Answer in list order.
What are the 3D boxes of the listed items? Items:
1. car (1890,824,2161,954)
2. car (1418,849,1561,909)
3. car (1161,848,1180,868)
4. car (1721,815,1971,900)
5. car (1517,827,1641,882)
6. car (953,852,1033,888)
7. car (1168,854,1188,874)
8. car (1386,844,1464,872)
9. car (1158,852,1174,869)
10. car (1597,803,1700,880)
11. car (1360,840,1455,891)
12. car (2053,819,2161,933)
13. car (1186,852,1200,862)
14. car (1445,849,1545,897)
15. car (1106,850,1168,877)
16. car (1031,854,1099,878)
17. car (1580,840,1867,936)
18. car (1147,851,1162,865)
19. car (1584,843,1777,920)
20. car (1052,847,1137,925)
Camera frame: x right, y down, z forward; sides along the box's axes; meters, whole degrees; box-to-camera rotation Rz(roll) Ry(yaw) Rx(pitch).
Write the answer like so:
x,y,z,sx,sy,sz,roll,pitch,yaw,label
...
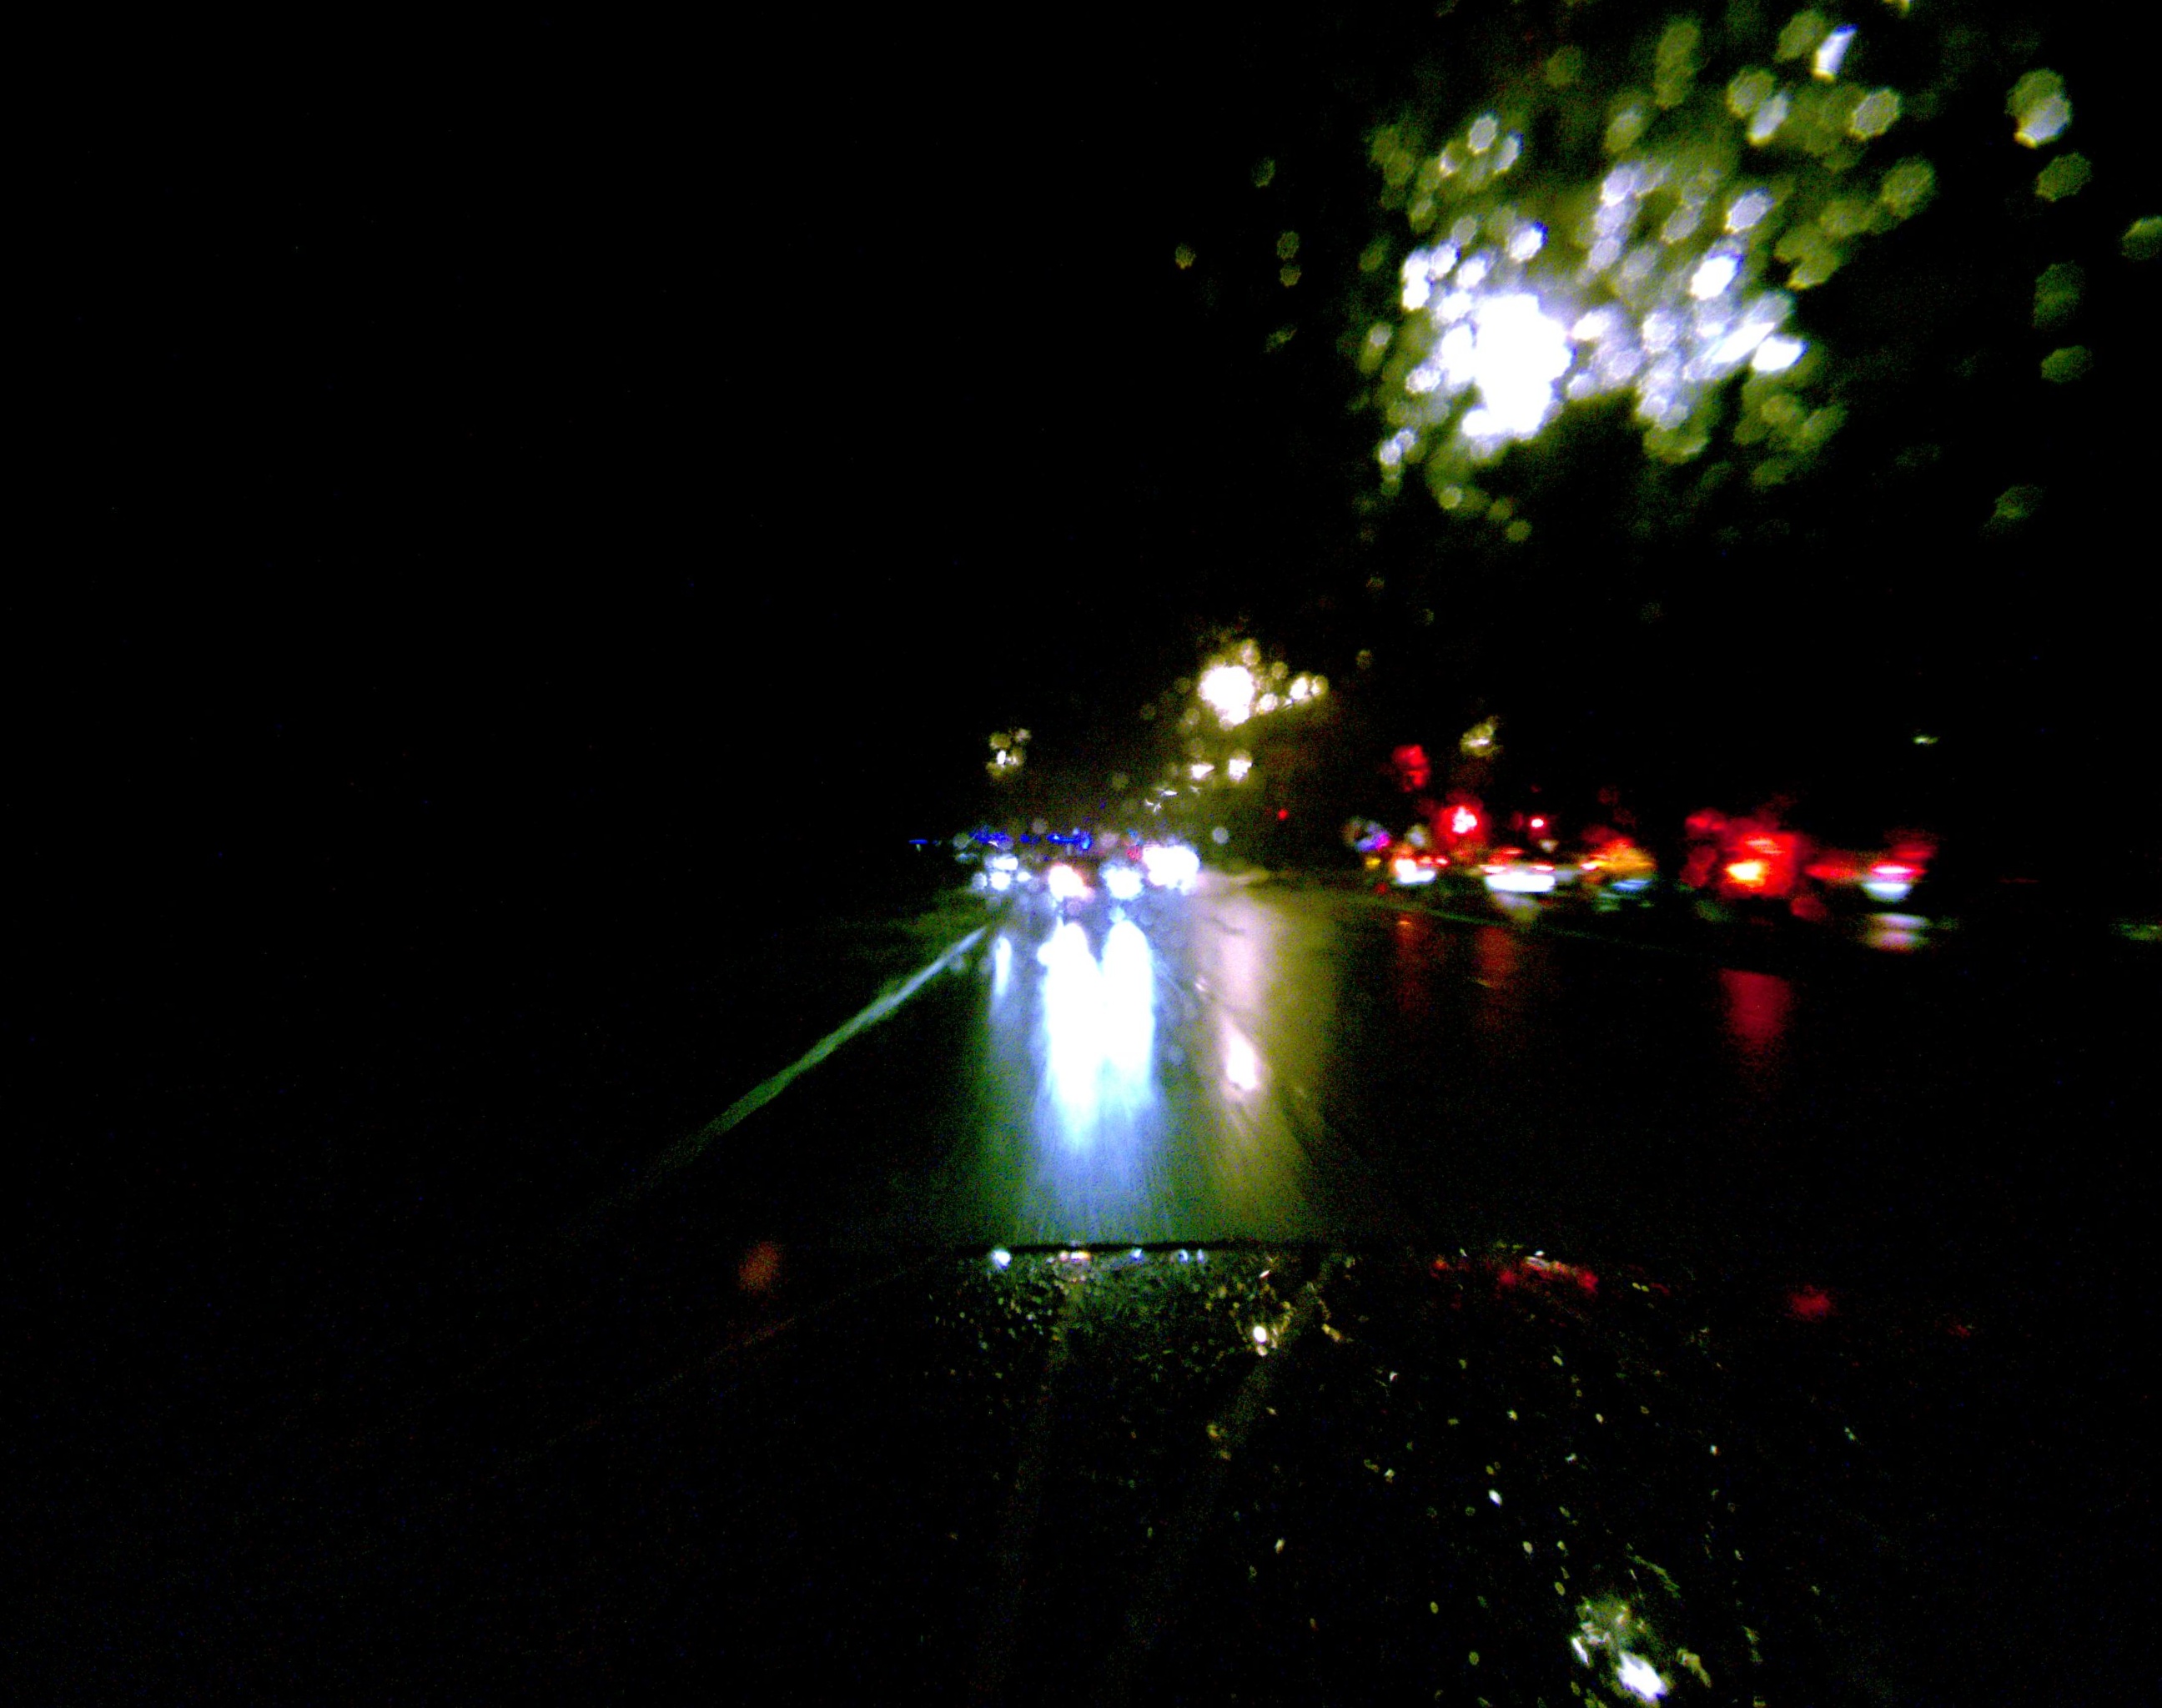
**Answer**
x,y,z,sx,sy,sz,roll,pitch,yaw,label
14.997,0.418,10.993,1.803,1.657,4.486,-2,2,0,car
11.458,0.631,21.703,1.781,1.475,4.412,-2,0,1,car
10.213,0.416,86.807,1.792,2.013,4.146,-1,2,3,car
18.339,0.064,18.554,1.803,1.788,4.250,-2,0,0,car
18.388,0.004,28.337,1.764,1.837,4.284,-2,0,0,car
-4.219,0.734,36.045,1.691,1.524,3.976,-5,3,-41,car
10.039,1.020,78.721,1.666,1.843,4.146,-1,2,3,car
22.454,0.276,49.683,4.233,1.584,1.791,-1,-4,3,car
10.713,0.831,96.077,1.711,1.927,3.609,-1,2,2,car
21.931,-0.465,29.617,2.250,2.694,5.618,-1,0,27,car
11.885,0.383,27.935,1.764,1.715,3.901,-2,0,0,car
18.577,0.374,11.751,1.764,1.838,4.123,-1,2,0,car
19.235,0.547,131.022,1.834,1.466,4.035,-2,3,1,car
15.064,0.633,27.909,1.716,1.479,4.058,-1,2,4,car
3.840,0.620,52.126,4.124,1.696,1.850,-2,1,7,car
-0.990,0.767,48.863,4.170,1.436,1.681,-2,1,4,car
11.893,0.535,14.543,1.817,1.568,4.305,0,0,-1,car
10.287,0.492,106.741,1.845,1.683,3.999,-3,2,3,car
15.133,0.609,19.493,1.803,1.657,3.975,-1,2,0,car
0.265,0.795,21.353,2.004,1.914,4.367,-2,0,-3,car
